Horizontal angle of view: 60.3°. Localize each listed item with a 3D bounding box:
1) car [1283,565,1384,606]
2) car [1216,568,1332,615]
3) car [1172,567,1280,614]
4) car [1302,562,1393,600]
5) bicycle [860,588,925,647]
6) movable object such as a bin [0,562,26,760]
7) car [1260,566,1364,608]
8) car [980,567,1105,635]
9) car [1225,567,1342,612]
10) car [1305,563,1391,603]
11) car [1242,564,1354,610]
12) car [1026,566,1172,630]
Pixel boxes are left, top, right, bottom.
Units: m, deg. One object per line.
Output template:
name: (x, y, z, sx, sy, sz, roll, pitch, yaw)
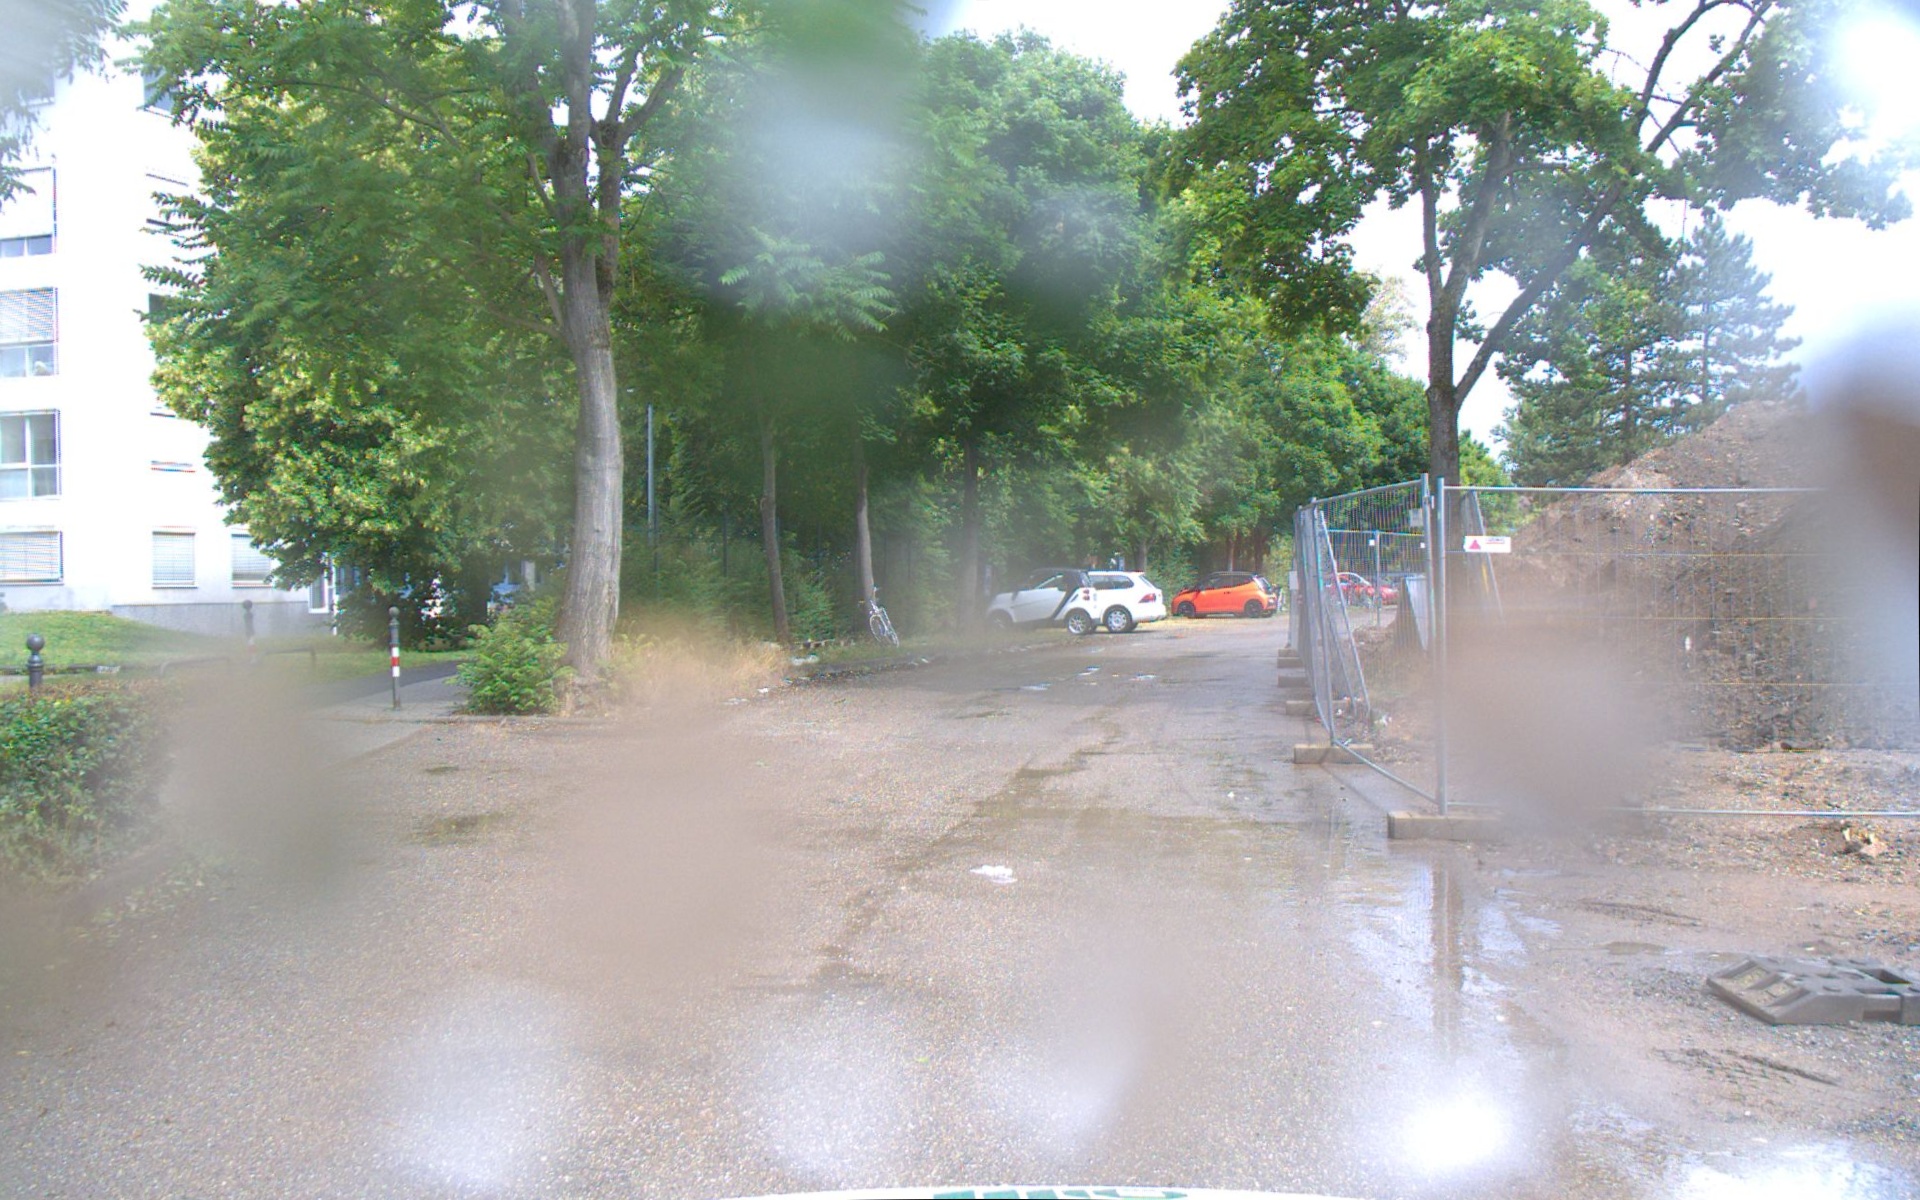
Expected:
car: (15.568, -0.609, 68.923, 3.904, 1.587, 1.764, 1, 2, 20)
car: (11.155, -0.326, 58.753, 3.717, 1.555, 1.909, 1, 2, 24)
car: (8.779, -0.347, 54.634, 3.219, 1.449, 1.591, 1, 2, 26)
car: (17.320, -0.851, 73.852, 3.776, 1.600, 1.959, 1, 2, 19)
bicycle: (-1.081, 0.271, 26.844, 0.466, 0.875, 1.455, 1, 2, 23)
movable object such as a bin: (-8.080, 0.468, 12.640, 1.454, 1.499, 1.101, -1, 0, 33)
car: (13.997, -0.536, 65.718, 3.860, 1.543, 1.807, 1, 2, 19)
car: (1.936, 0.017, 38.534, 2.695, 1.510, 1.595, -1, 2, 11)
car: (11.879, -0.400, 60.770, 3.906, 1.522, 1.993, 1, 2, 23)
car: (16.786, -0.746, 71.592, 3.511, 1.648, 1.871, 1, 2, 16)
car: (12.958, -0.519, 63.449, 4.021, 1.679, 1.848, 1, 2, 18)
car: (3.433, -0.060, 40.558, 3.358, 1.494, 1.742, -1, 2, 11)
